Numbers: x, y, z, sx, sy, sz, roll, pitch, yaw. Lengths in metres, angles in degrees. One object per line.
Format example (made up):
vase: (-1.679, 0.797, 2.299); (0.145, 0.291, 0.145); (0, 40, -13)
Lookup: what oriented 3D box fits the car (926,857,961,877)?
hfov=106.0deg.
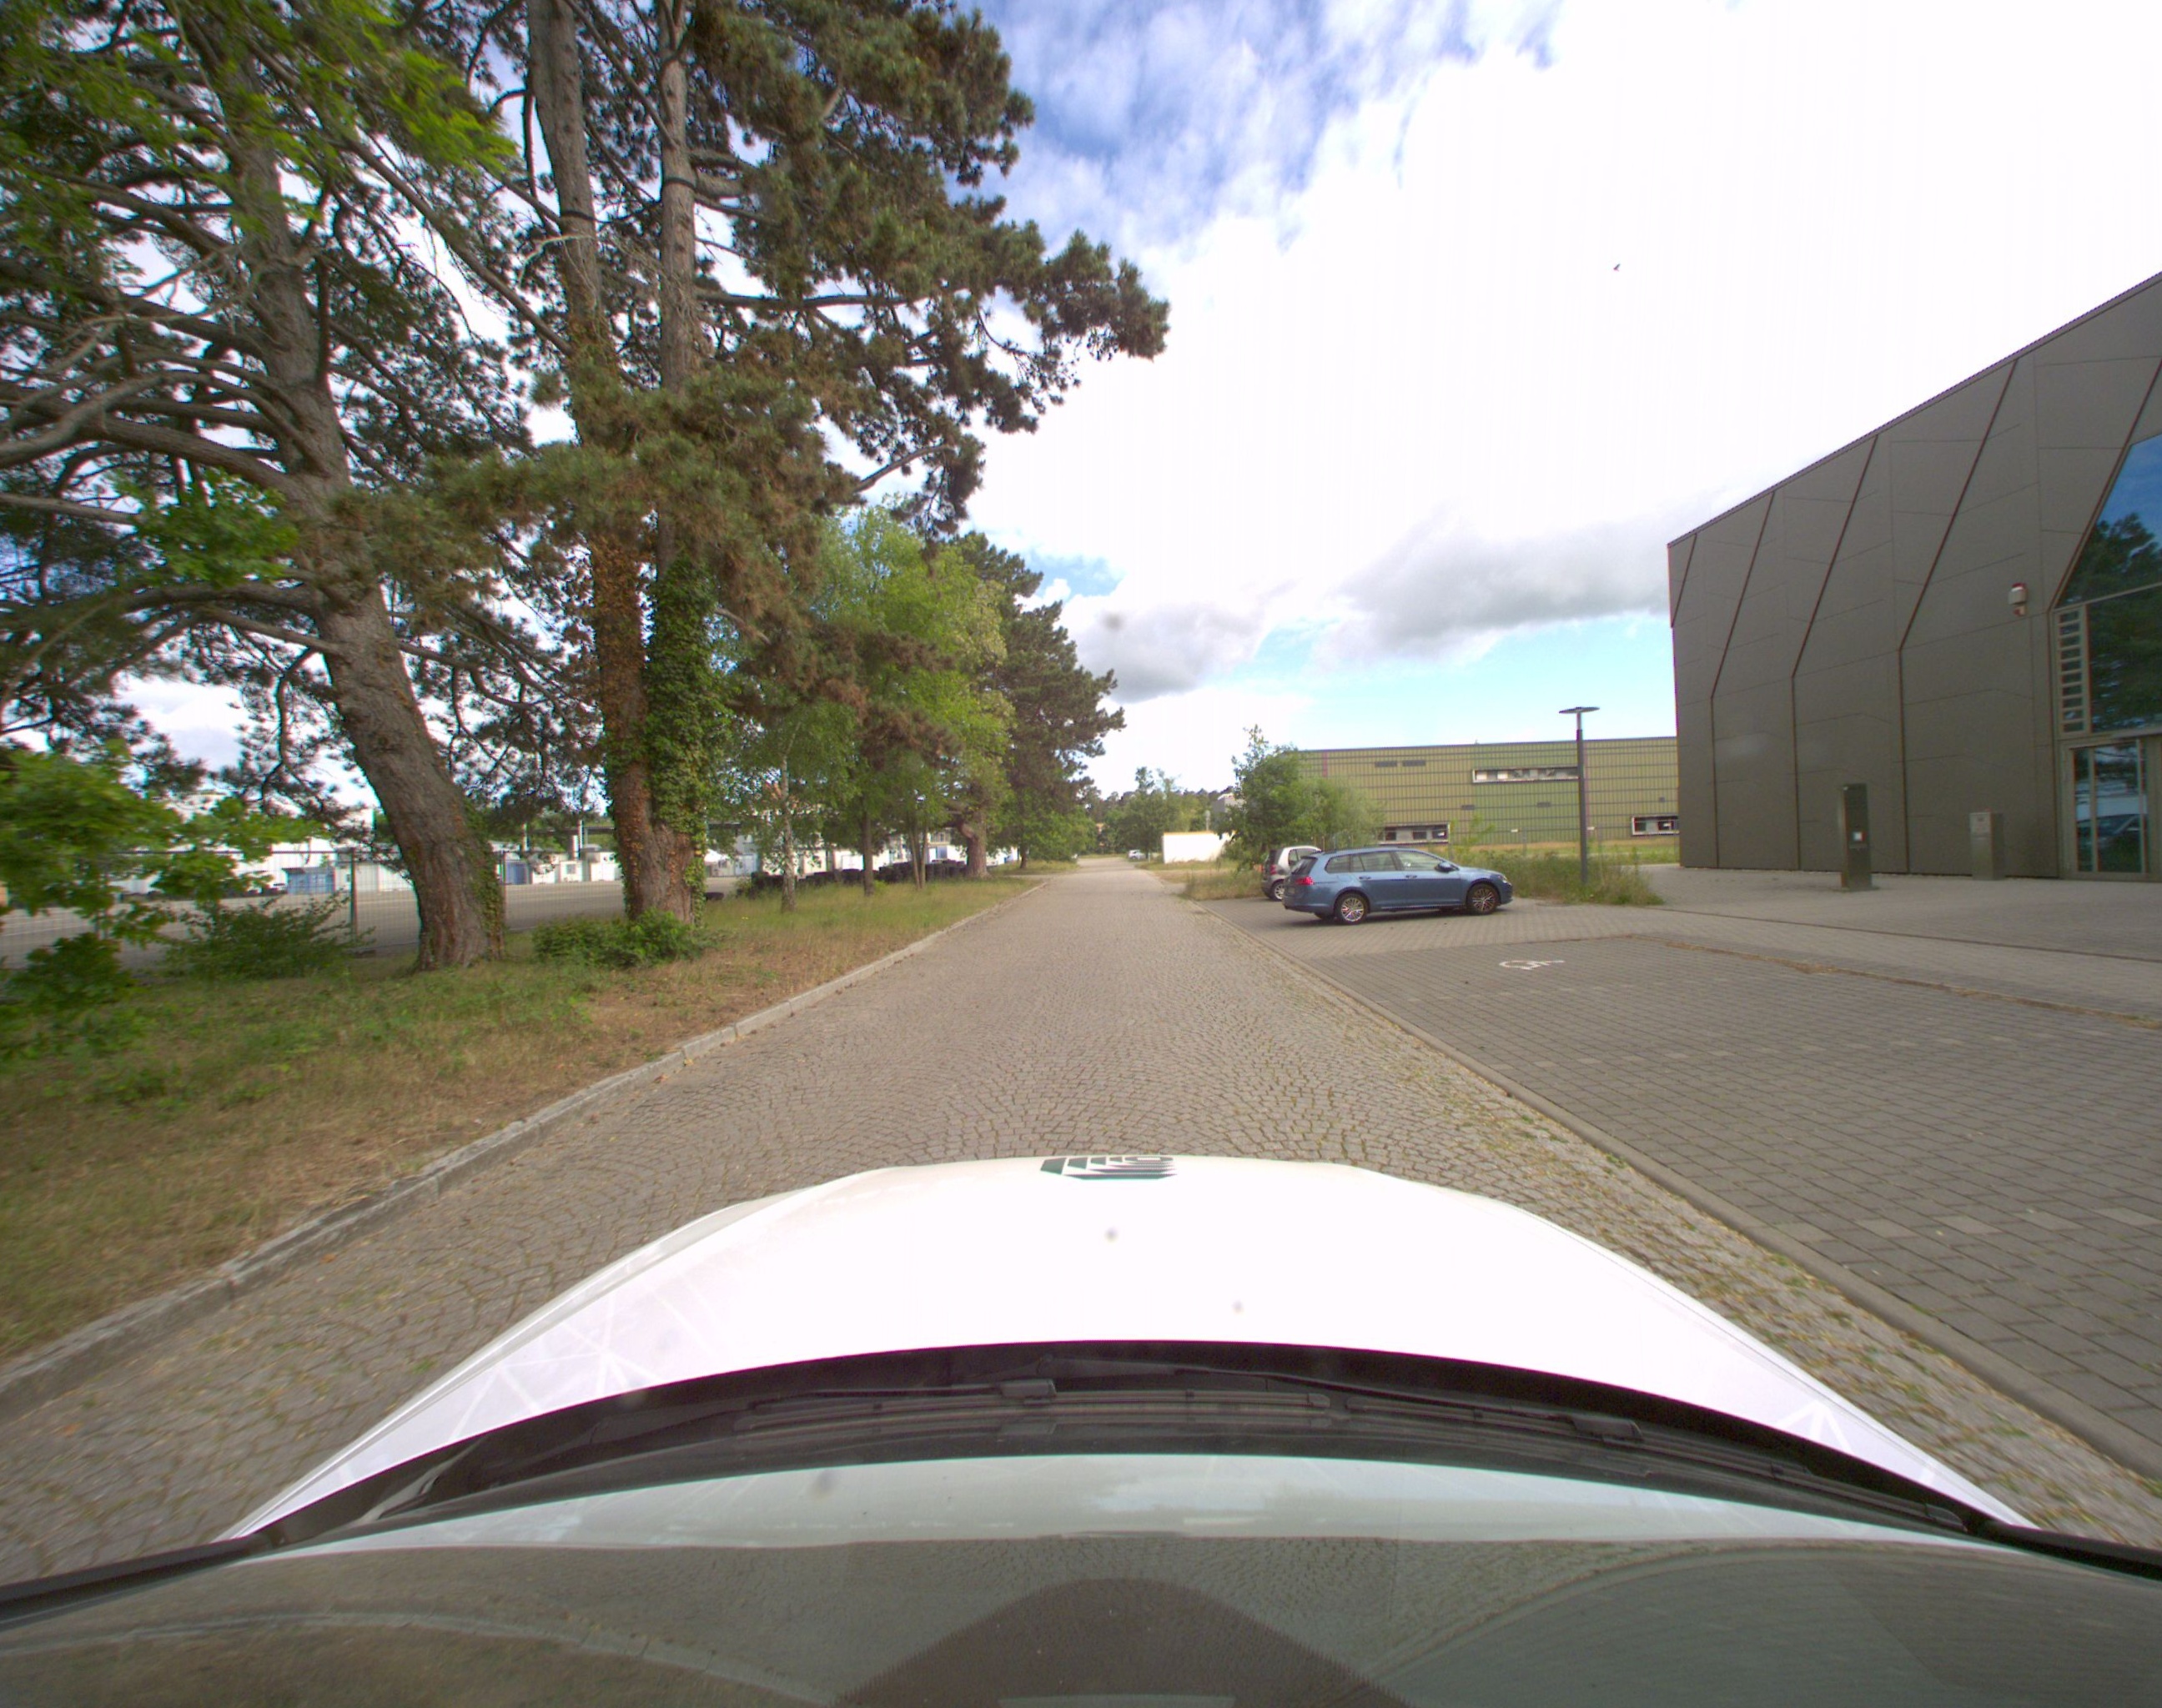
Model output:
car: (-11.085, 0.995, 65.998); (1.616, 1.433, 4.072); (-2, 1, 7)

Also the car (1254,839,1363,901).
car: (6.636, 0.446, 23.989); (2.699, 1.556, 1.655); (-4, 0, 2)

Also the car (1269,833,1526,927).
car: (6.343, 0.496, 16.673); (4.478, 1.475, 1.830); (-4, 0, -1)

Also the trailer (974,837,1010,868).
trailer: (-11.277, -0.216, 104.107); (2.613, 3.598, 10.189); (-2, 0, 4)

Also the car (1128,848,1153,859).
car: (9.949, -0.092, 136.532); (3.969, 1.448, 1.654); (-4, 0, 2)

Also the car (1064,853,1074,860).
car: (-2.263, 0.467, 155.705); (1.641, 1.369, 4.000); (-2, 0, 2)

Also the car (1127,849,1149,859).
car: (9.320, 0.043, 133.851); (3.509, 1.362, 1.623); (-4, 0, 2)
